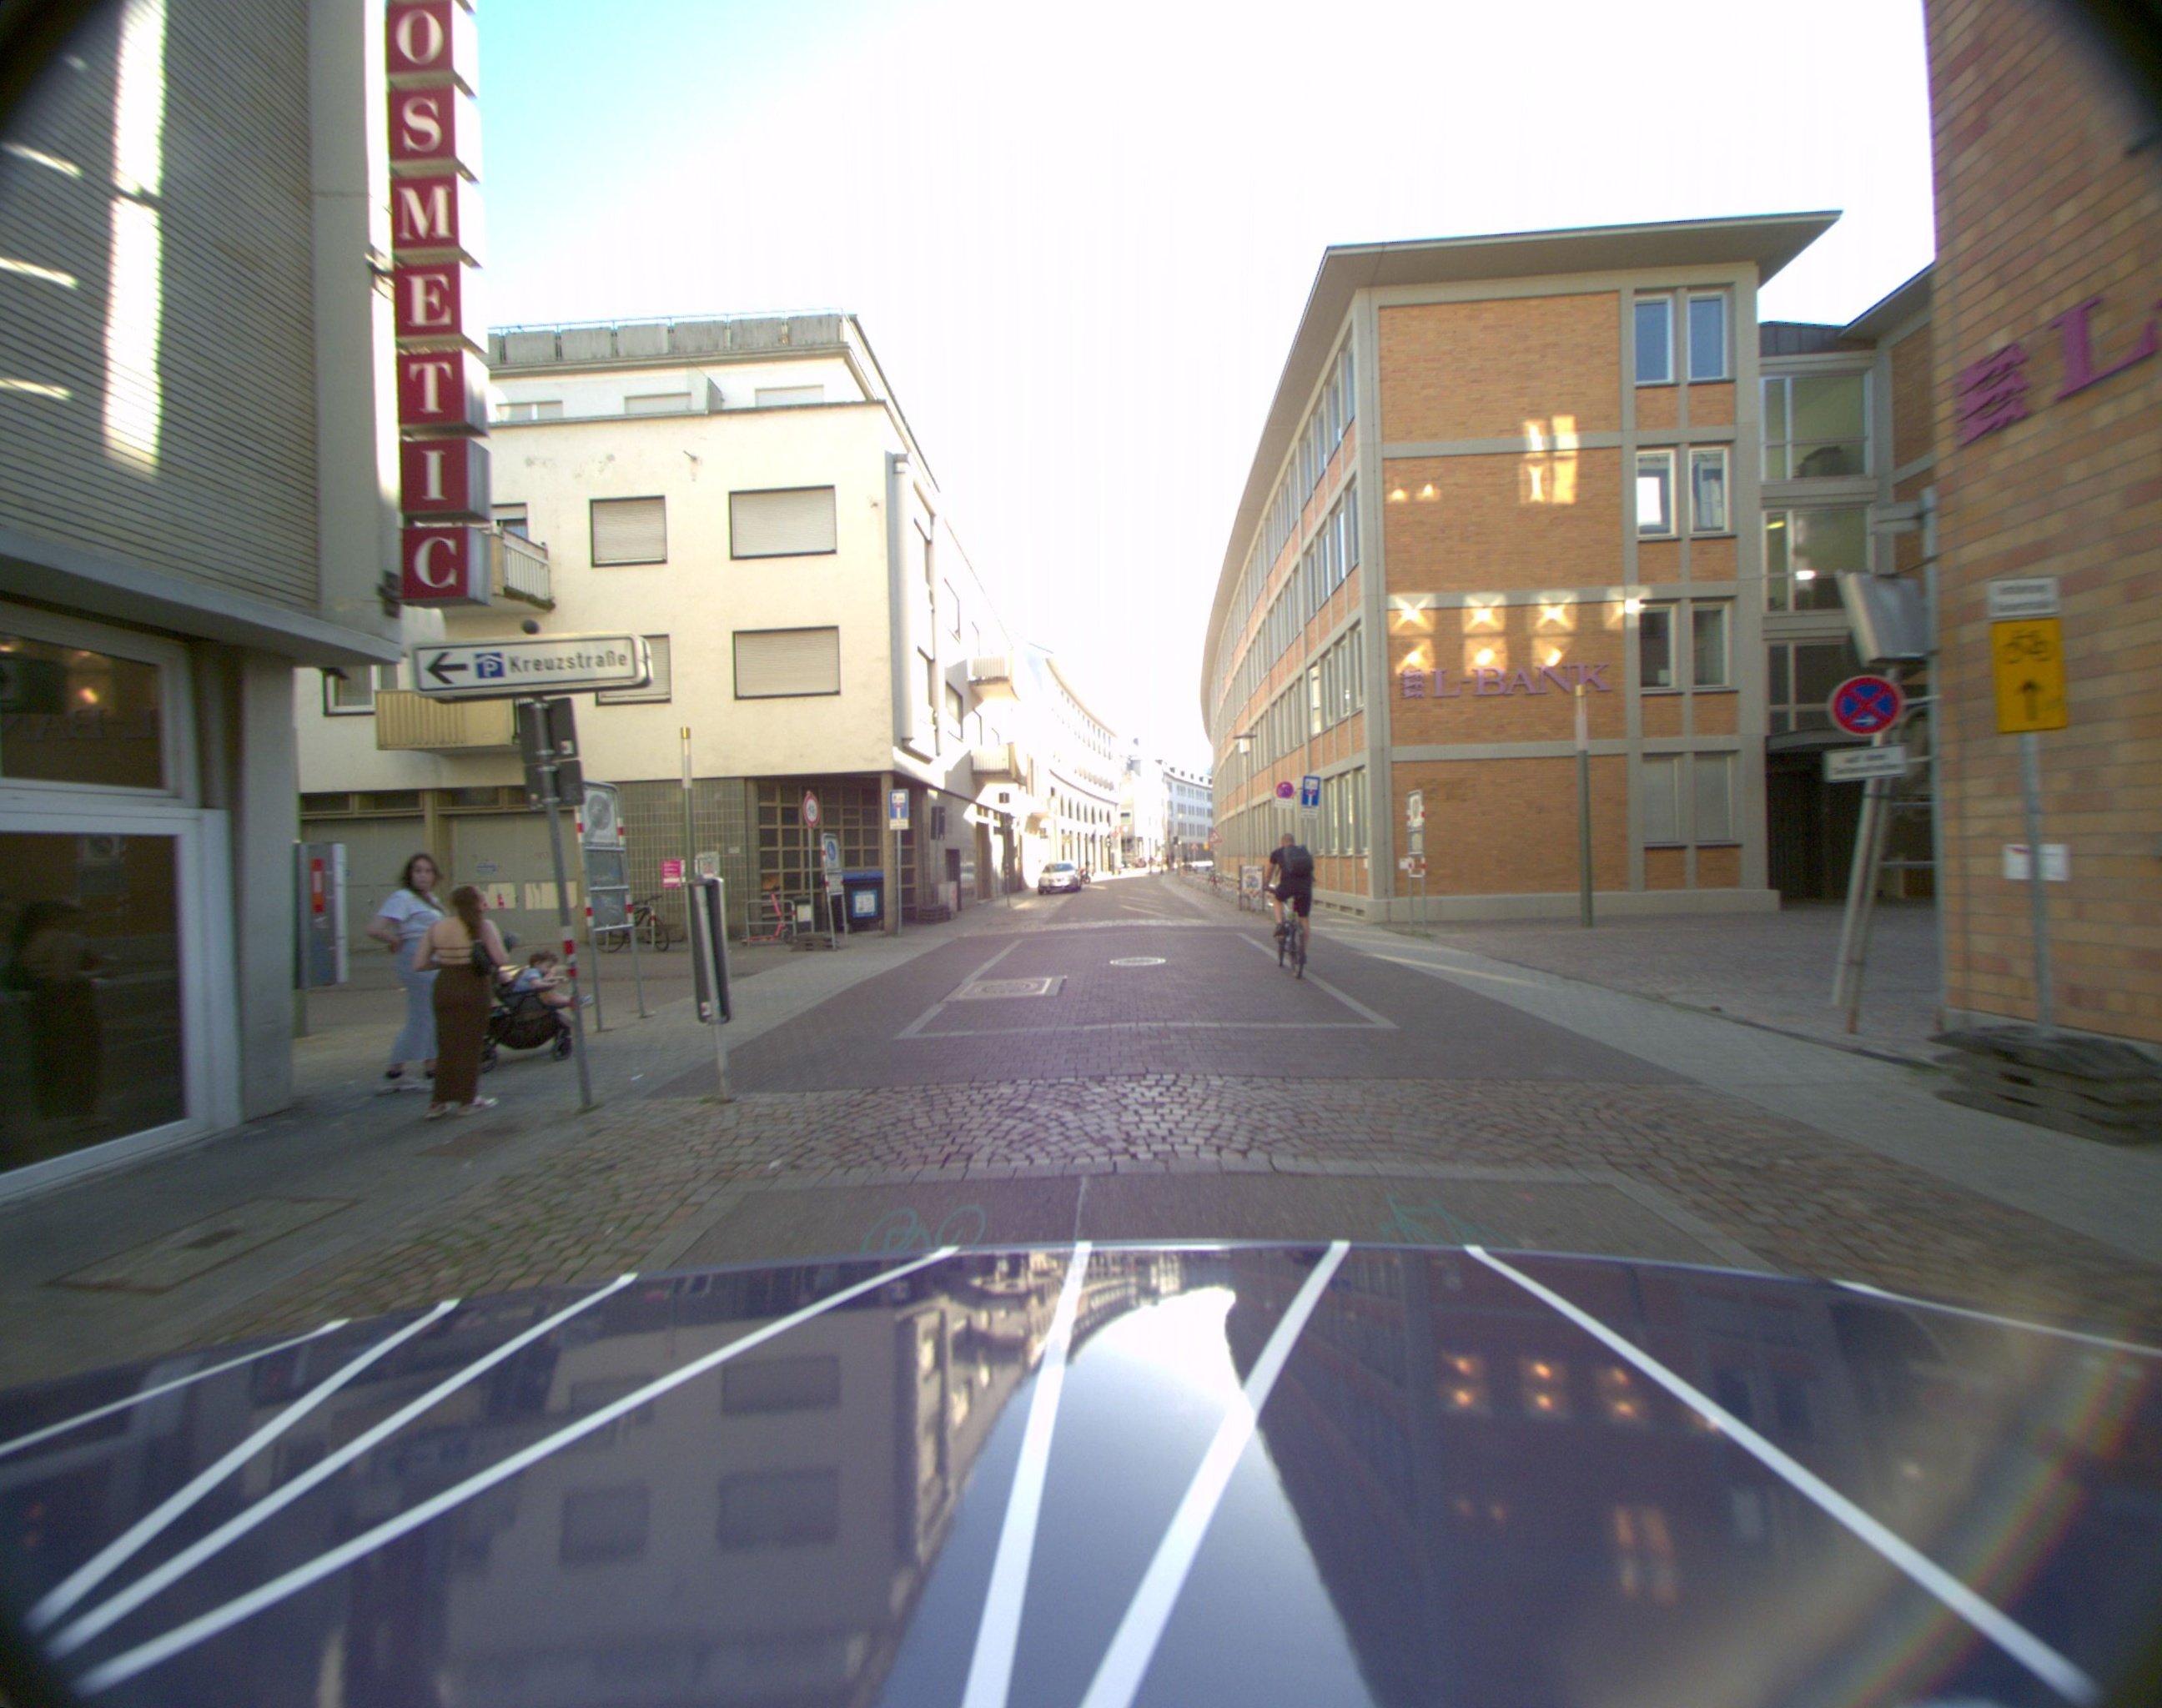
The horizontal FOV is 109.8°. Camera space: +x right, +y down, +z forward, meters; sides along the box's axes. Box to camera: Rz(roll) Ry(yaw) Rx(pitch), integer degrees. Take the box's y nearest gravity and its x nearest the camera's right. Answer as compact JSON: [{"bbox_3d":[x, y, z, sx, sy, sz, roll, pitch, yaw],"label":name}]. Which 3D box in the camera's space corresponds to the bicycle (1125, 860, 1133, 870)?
[{"bbox_3d":[5.182,1.169,81.845,0.576,0.955,1.721,-2,0,9],"label":"bicycle"}]

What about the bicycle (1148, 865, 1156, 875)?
[{"bbox_3d":[5.949,1.332,63.674,0.524,0.843,1.491,-2,0,8],"label":"bicycle"}]

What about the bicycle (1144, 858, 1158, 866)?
[{"bbox_3d":[8.835,1.012,95.794,1.621,1.033,0.531,-2,0,-30],"label":"bicycle"}]

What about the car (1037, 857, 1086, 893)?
[{"bbox_3d":[-0.855,0.937,35.258,1.846,1.453,4.000,-3,0,4],"label":"car"}]

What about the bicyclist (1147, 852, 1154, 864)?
[{"bbox_3d":[8.773,0.481,95.780,0.719,1.549,0.488,-2,0,-32],"label":"bicyclist"}]

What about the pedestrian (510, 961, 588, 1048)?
[{"bbox_3d":[-4.534,1.270,6.494,0.510,0.629,0.331,-2,1,-32],"label":"pedestrian"}]

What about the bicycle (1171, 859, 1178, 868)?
[{"bbox_3d":[9.635,0.969,78.111,0.576,0.955,1.721,-2,0,9],"label":"bicycle"}]

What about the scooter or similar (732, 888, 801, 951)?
[{"bbox_3d":[-6.422,1.333,15.535,1.162,1.216,0.498,-2,1,1],"label":"scooter or similar"}]

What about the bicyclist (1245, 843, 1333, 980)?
[{"bbox_3d":[2.604,0.691,9.592,0.664,1.633,0.924,1,1,-12],"label":"bicyclist"}]

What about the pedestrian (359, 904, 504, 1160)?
[{"bbox_3d":[-4.184,1.106,4.913,0.573,1.532,0.441,1,1,11],"label":"pedestrian"}]

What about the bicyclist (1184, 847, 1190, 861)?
[{"bbox_3d":[12.292,0.013,88.228,0.580,1.565,0.692,-2,0,10],"label":"bicyclist"}]

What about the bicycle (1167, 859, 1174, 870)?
[{"bbox_3d":[8.571,0.982,72.685,0.576,0.955,1.721,-2,0,9],"label":"bicycle"}]

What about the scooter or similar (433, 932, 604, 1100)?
[{"bbox_3d":[-4.789,1.305,6.481,0.869,1.169,1.047,-2,-1,45],"label":"scooter or similar"}]

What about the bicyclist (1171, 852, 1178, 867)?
[{"bbox_3d":[9.604,0.594,78.132,0.576,1.525,0.816,-2,1,9],"label":"bicyclist"}]

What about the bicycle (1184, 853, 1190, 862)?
[{"bbox_3d":[12.293,0.431,88.240,0.622,0.955,1.721,-2,0,9],"label":"bicycle"}]

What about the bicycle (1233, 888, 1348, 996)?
[{"bbox_3d":[2.594,1.052,9.607,0.653,1.125,1.733,2,1,-11],"label":"bicycle"}]

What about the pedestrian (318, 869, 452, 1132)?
[{"bbox_3d":[-5.031,0.990,5.503,0.623,1.726,0.625,-3,1,-44],"label":"pedestrian"}]

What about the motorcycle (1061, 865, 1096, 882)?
[{"bbox_3d":[-0.143,1.205,46.365,1.995,0.950,0.646,-2,1,17],"label":"motorcycle"}]

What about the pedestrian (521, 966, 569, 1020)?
[{"bbox_3d":[-4.759,1.228,6.758,0.313,0.396,0.331,-2,1,-32],"label":"pedestrian"}]

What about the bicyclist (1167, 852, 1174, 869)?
[{"bbox_3d":[8.586,0.634,72.857,0.580,1.565,0.692,-2,0,8],"label":"bicyclist"}]

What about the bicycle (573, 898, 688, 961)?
[{"bbox_3d":[-8.986,1.499,15.177,1.891,1.120,0.682,-3,0,7],"label":"bicycle"}]

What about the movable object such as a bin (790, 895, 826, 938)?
[{"bbox_3d":[-6.278,1.423,17.469,0.598,0.921,0.605,-2,1,-39],"label":"movable object such as a bin"}]

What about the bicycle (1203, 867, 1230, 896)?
[{"bbox_3d":[5.273,1.038,29.669,0.628,1.047,1.822,-2,0,-3],"label":"bicycle"}]

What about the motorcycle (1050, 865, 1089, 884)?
[{"bbox_3d":[-0.644,1.149,42.479,1.995,0.950,0.646,-2,1,17],"label":"motorcycle"}]

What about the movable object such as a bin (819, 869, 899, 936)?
[{"bbox_3d":[-5.246,1.111,17.932,1.437,1.454,1.126,-2,0,-39],"label":"movable object such as a bin"}]

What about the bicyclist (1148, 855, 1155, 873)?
[{"bbox_3d":[5.925,0.810,63.688,0.472,1.495,0.795,-2,1,7],"label":"bicyclist"}]
